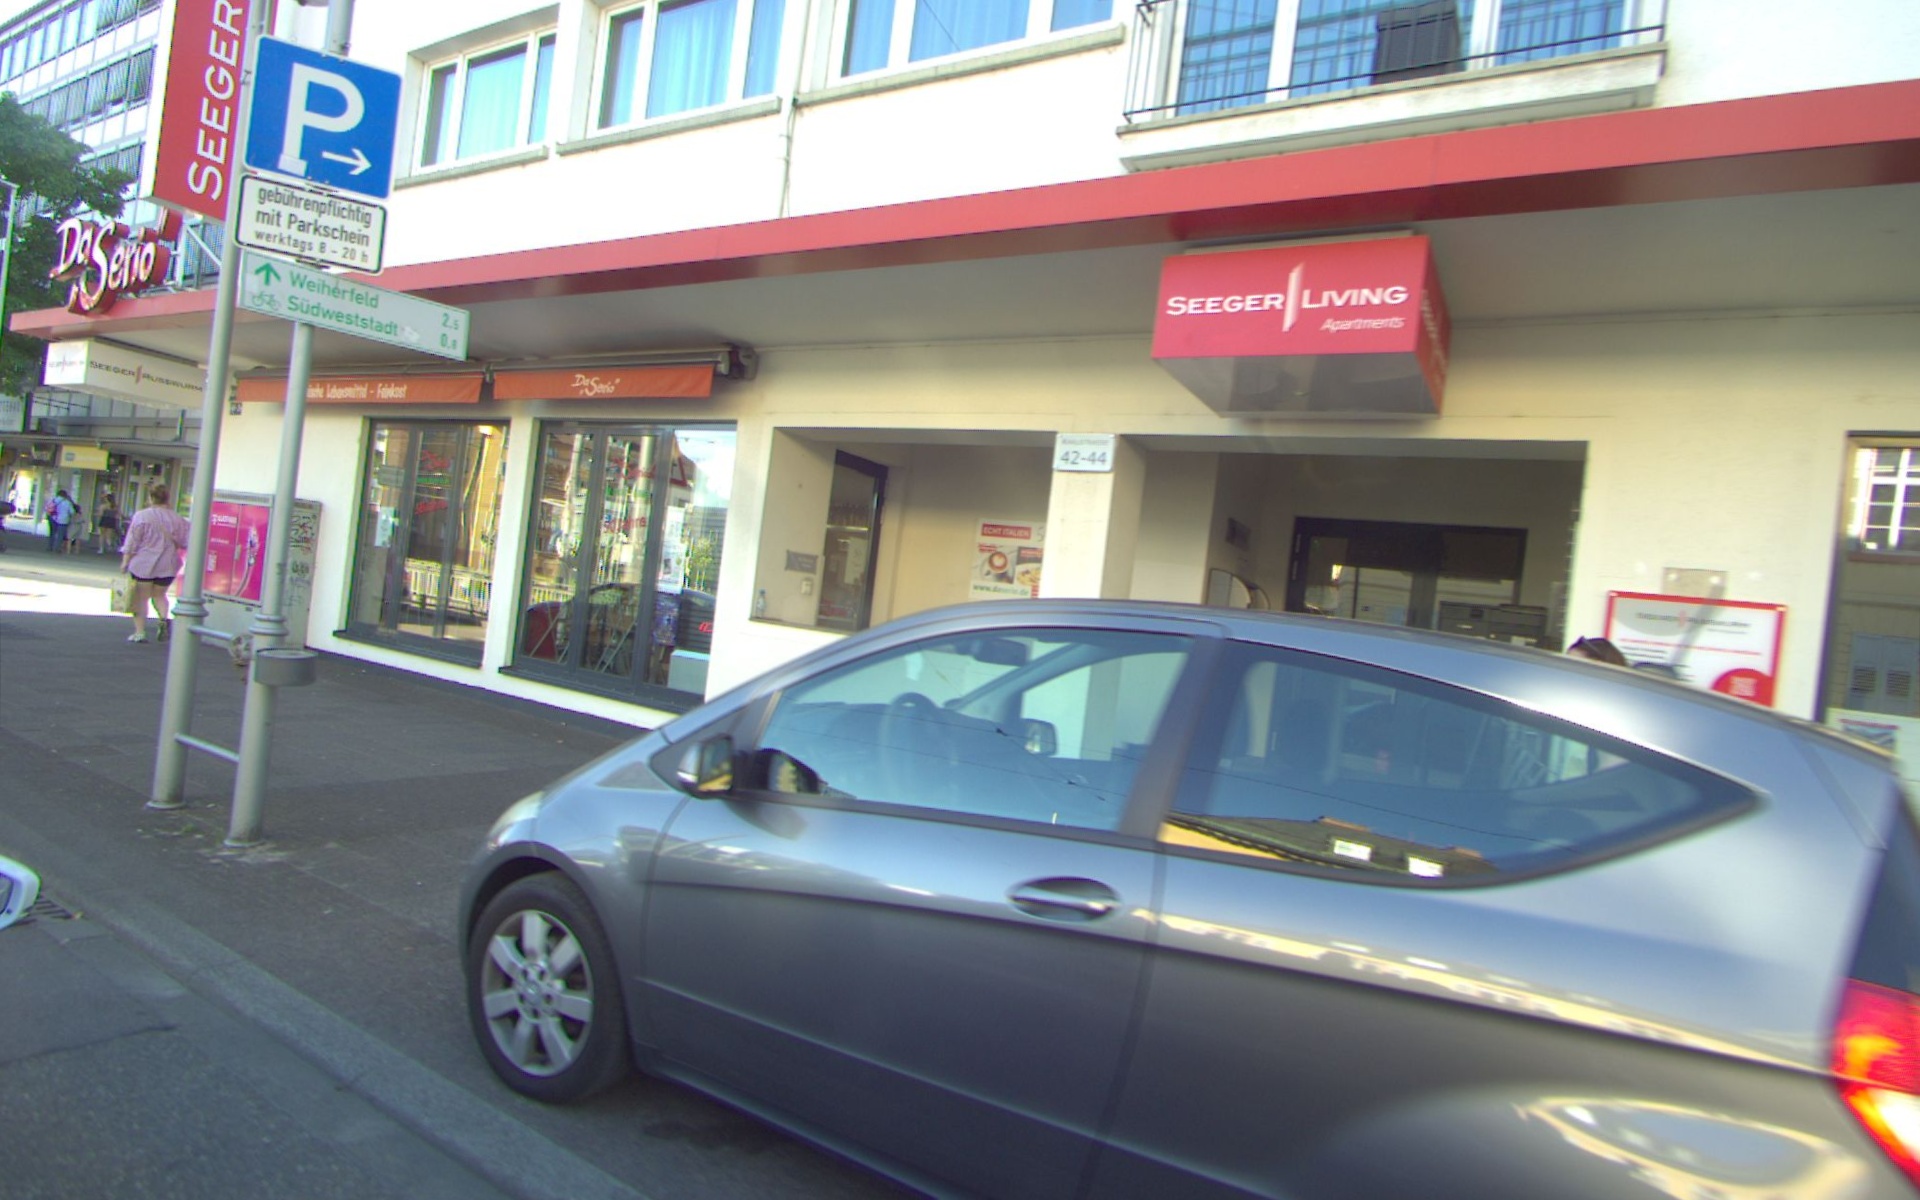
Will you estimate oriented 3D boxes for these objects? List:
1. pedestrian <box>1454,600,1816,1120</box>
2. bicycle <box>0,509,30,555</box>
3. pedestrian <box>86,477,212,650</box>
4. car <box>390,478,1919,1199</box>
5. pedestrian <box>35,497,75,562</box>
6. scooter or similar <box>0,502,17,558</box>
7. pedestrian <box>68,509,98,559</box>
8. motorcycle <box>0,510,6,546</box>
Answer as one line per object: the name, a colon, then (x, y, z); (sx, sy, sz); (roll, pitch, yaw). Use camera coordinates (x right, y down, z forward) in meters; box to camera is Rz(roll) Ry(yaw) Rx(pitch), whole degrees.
pedestrian: (2.710, 0.969, 4.185); (0.915, 1.796, 0.806); (7, 0, 21)
bicycle: (-25.642, -1.889, 26.124); (0.475, 1.134, 2.055); (7, -2, 32)
pedestrian: (-8.712, -0.378, 10.850); (0.813, 1.702, 0.708); (9, -2, -36)
car: (0.331, 0.701, 2.838); (3.588, 1.652, 1.747); (7, 1, 31)
pedestrian: (-24.641, -1.911, 27.384); (0.459, 1.662, 0.595); (7, 0, 33)
scooter or similar: (-23.965, -1.786, 24.378); (0.683, 1.332, 1.415); (6, -1, 6)
pedestrian: (-24.419, -1.838, 28.010); (0.522, 1.296, 0.420); (7, 0, 33)
motorcycle: (-27.346, -2.056, 27.239); (0.586, 1.140, 1.997); (7, -3, 31)
